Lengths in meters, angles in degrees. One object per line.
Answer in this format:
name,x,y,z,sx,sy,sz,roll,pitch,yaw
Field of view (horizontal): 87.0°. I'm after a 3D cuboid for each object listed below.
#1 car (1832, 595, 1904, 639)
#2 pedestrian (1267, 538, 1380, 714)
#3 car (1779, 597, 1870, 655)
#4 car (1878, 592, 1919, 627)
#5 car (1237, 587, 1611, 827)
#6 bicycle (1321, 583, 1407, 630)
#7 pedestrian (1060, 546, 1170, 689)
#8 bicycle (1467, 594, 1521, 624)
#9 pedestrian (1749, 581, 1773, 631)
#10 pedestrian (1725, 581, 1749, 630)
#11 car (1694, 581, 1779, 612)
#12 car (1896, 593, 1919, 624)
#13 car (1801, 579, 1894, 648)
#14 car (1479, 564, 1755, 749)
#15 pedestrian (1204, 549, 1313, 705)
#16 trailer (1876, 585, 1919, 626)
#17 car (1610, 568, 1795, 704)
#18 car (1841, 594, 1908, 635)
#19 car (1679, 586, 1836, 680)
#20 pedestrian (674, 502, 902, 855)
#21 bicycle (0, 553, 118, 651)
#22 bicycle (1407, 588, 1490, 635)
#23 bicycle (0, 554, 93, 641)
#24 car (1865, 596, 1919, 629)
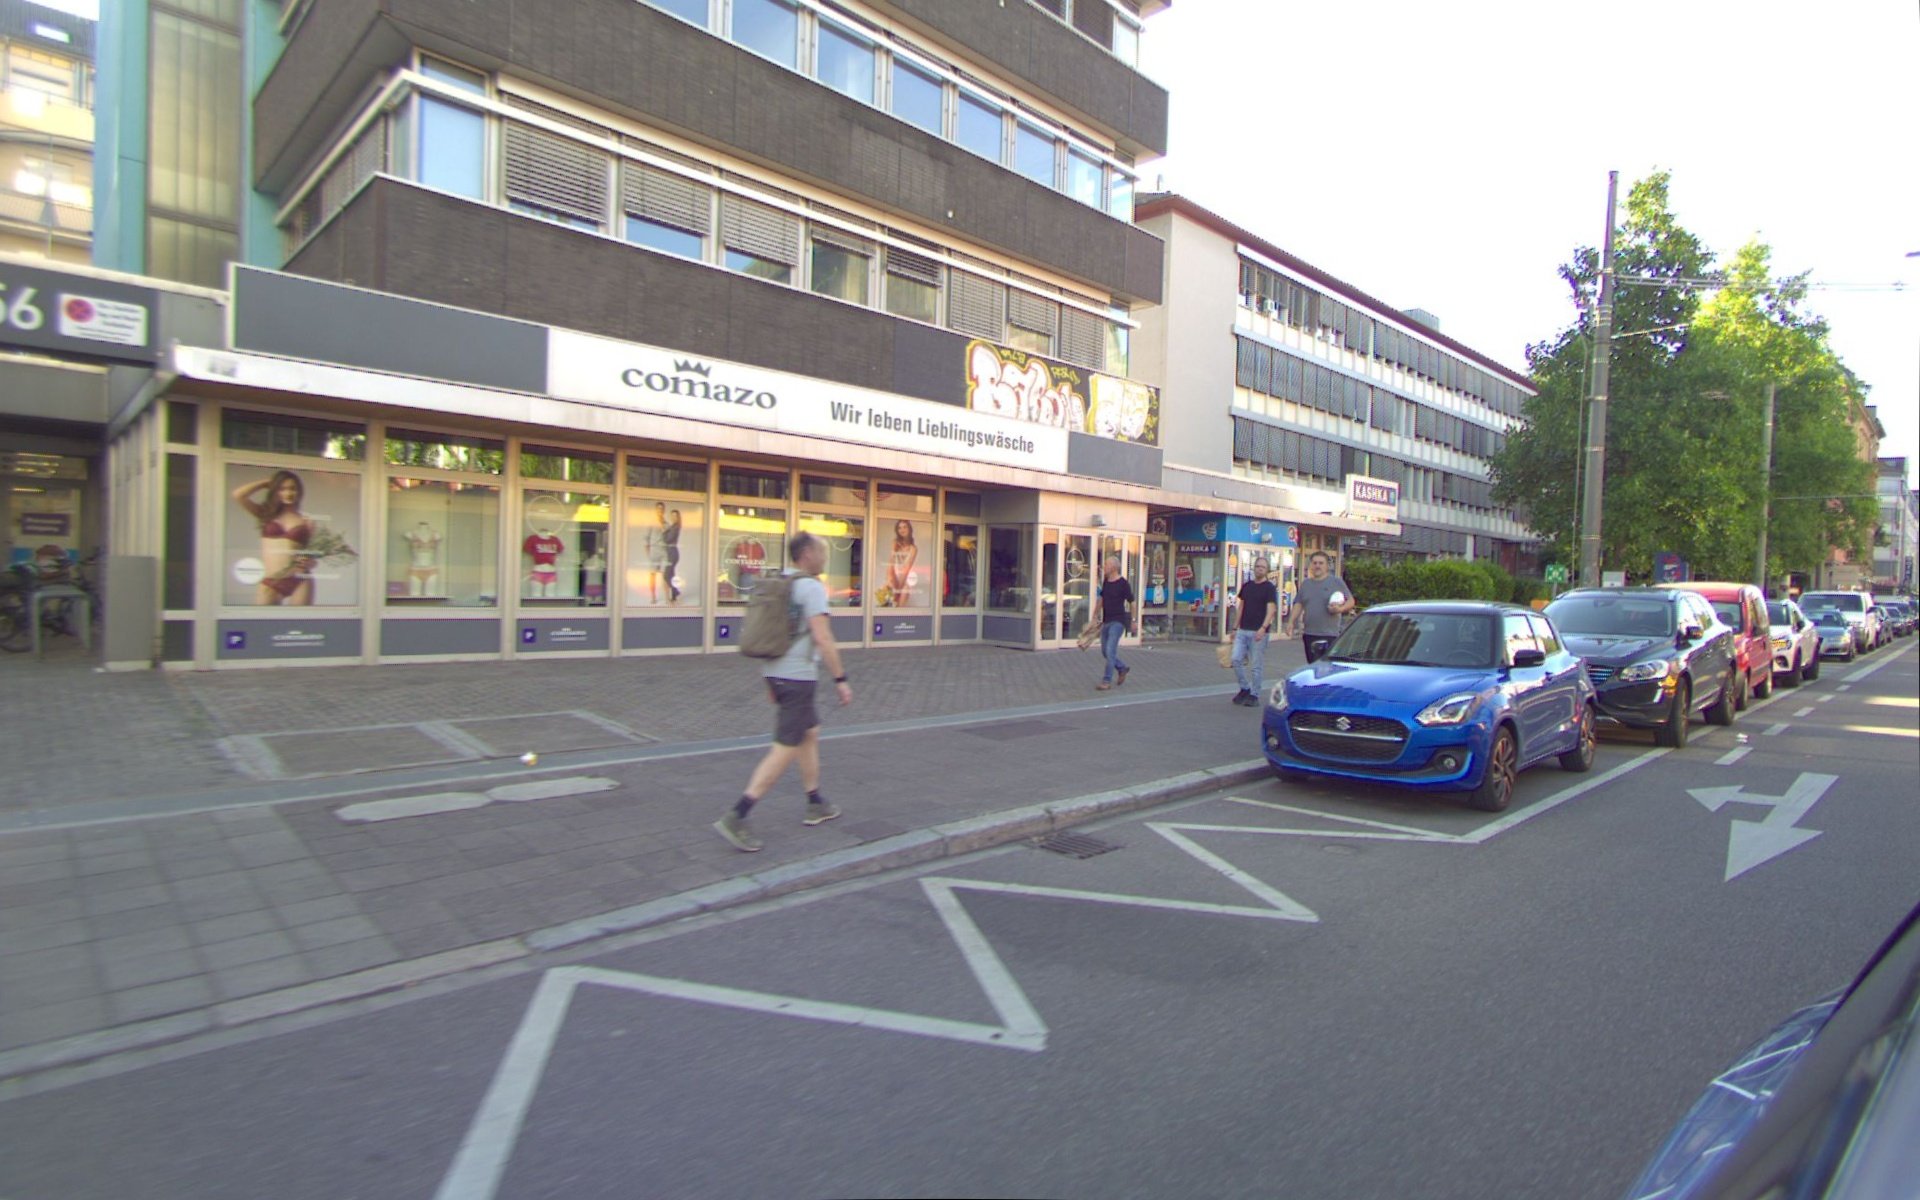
car,33.098,0.580,36.867,3.846,1.511,1.685,-1,1,-44
pedestrian,4.197,0.270,11.683,1.016,1.922,0.794,1,2,-45
car,24.012,0.666,28.072,1.674,1.422,4.101,1,1,44
car,49.479,0.480,53.069,1.780,1.767,4.402,1,1,45
car,3.941,0.672,8.293,1.638,1.511,3.734,0,0,44
bicycle,10.804,0.163,27.116,2.012,1.109,0.628,5,2,40
pedestrian,2.035,0.205,13.284,1.016,1.734,0.902,1,4,-44
bicycle,18.867,0.324,35.765,1.598,0.971,0.366,2,2,18
pedestrian,28.283,0.204,35.735,0.430,1.734,0.493,1,4,-44
pedestrian,27.839,0.190,36.256,0.430,1.734,0.493,1,4,-44
car,52.170,-0.253,68.055,4.357,1.692,1.565,7,4,43
car,60.425,0.529,63.931,4.619,1.866,1.694,0,1,-45
car,28.576,0.398,32.529,4.824,2.047,1.879,0,1,-44
car,7.858,0.499,11.925,4.402,1.779,1.822,-1,1,-45
pedestrian,3.619,0.300,12.273,1.016,1.778,0.811,1,2,-45
trailer,52.772,0.293,56.611,5.224,2.176,1.782,0,1,-42
car,11.551,0.467,15.634,1.676,1.831,4.179,1,1,45
car,36.251,0.563,40.095,3.835,1.513,1.596,1,1,-42
car,15.468,0.567,19.539,4.253,1.616,1.789,0,0,-43
pedestrian,-0.956,0.373,5.634,0.930,1.759,0.788,1,2,-45
bicycle,-10.949,0.007,12.074,0.425,1.098,1.414,2,1,14
bicycle,12.771,0.281,26.483,1.882,1.109,0.461,4,3,45
bicycle,-12.178,-0.044,13.143,0.425,1.098,1.414,2,1,14
car,45.082,0.588,48.896,4.143,1.446,1.781,1,1,-45
